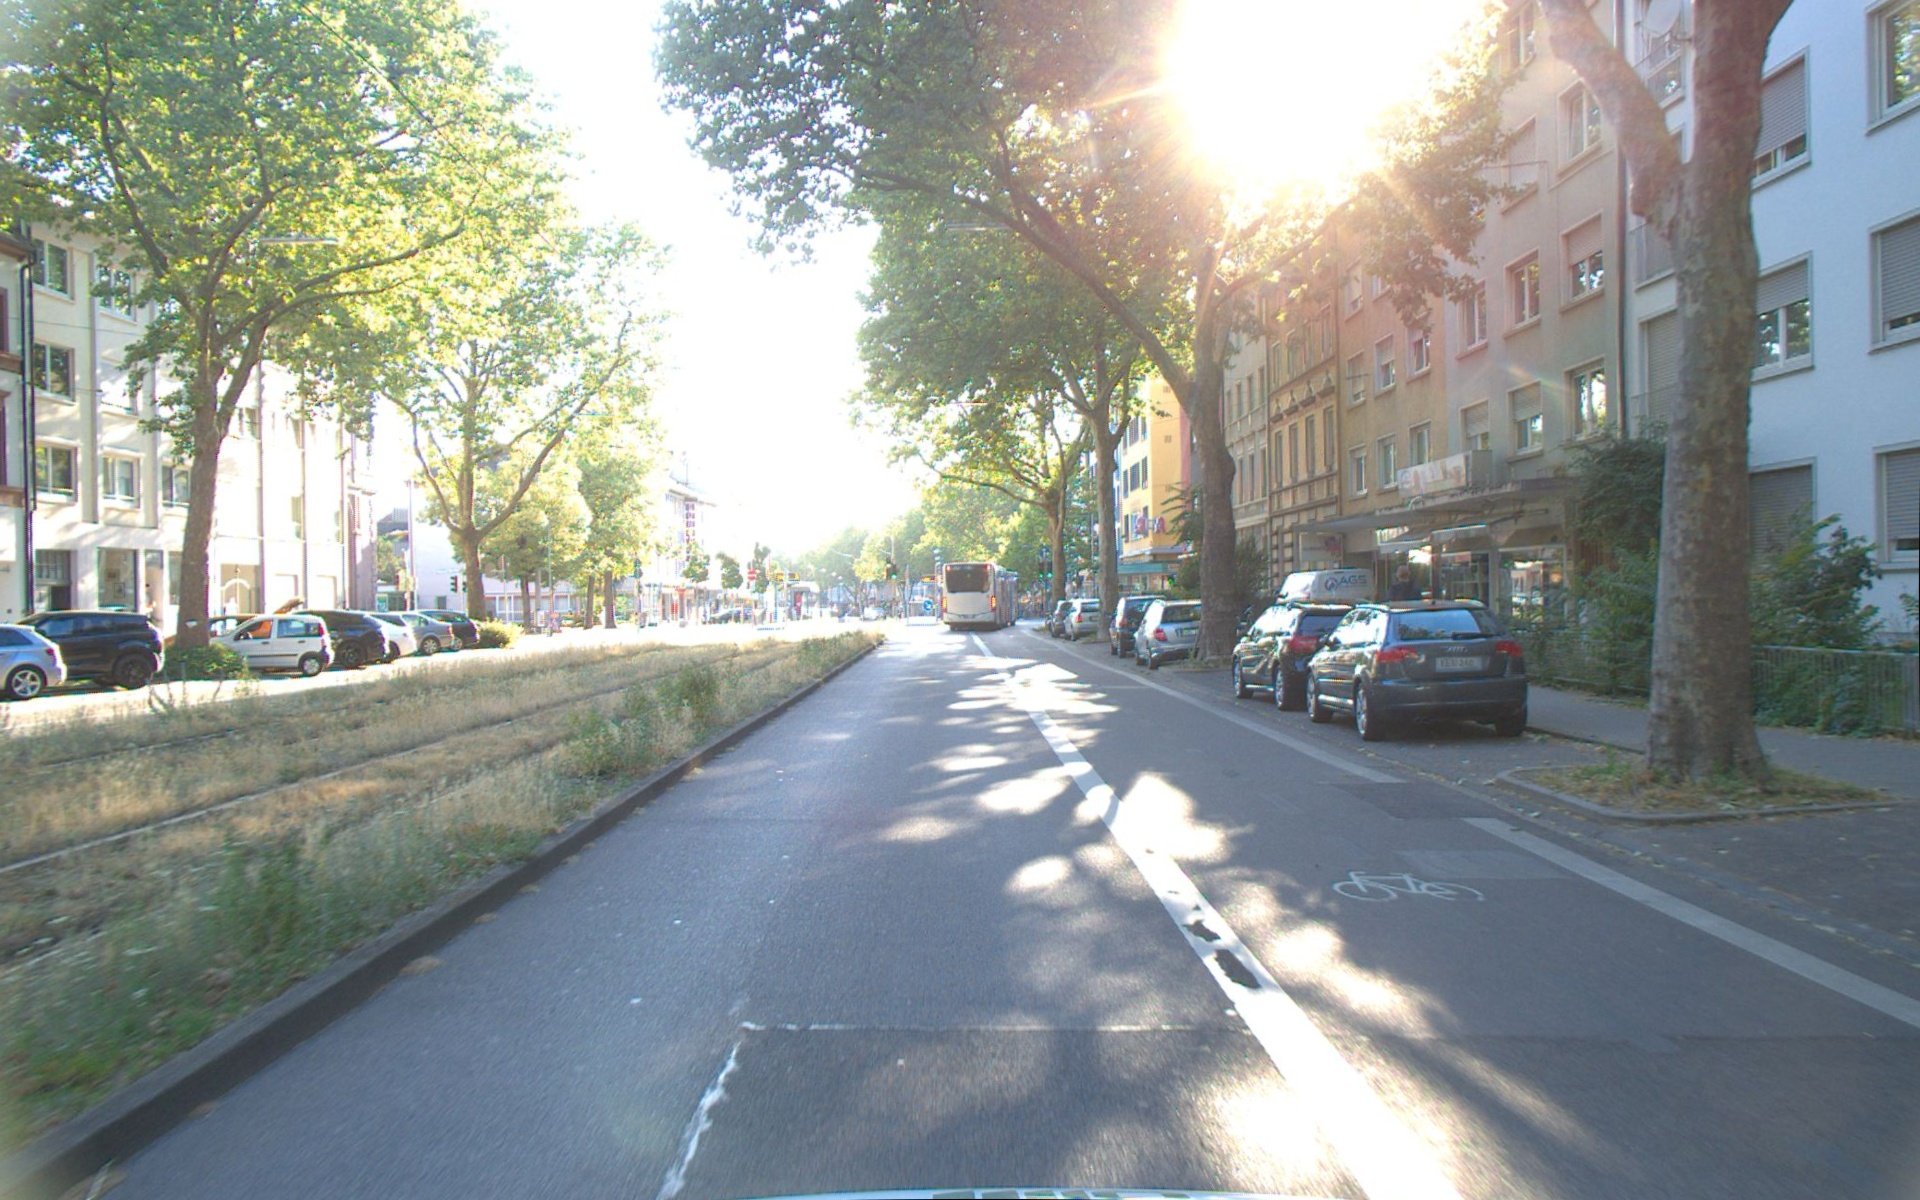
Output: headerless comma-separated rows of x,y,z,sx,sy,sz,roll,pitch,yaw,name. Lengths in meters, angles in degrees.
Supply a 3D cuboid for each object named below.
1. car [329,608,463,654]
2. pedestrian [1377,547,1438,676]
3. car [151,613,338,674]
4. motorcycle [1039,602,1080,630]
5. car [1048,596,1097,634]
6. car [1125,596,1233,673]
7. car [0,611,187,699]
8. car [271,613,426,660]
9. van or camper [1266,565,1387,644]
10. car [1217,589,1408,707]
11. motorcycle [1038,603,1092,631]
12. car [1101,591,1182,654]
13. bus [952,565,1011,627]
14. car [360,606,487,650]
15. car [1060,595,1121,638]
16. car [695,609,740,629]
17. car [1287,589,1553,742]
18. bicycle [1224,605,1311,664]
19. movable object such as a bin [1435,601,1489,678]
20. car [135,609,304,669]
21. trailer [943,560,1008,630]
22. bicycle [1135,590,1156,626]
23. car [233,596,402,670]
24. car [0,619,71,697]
-19.169,1.049,56.310,3.965,1.466,1.696,1,0,-42,car
7.286,0.187,26.956,0.669,2.049,1.012,-1,0,-1,pedestrian
-18.204,1.085,42.119,4.298,1.474,1.644,0,-1,-28,car
4.414,0.706,73.174,1.982,1.172,0.592,-1,0,-43,motorcycle
4.434,0.587,65.653,1.675,1.421,4.321,-1,0,1,car
4.802,0.708,36.841,1.660,1.569,4.776,-1,0,-1,car
-18.631,1.117,34.768,3.966,1.689,1.970,0,1,-42,car
-18.639,1.109,50.480,4.159,1.357,1.700,1,0,-37,car
9.734,0.108,44.425,1.902,1.956,5.390,-2,0,-1,van or camper
4.915,0.632,23.642,1.674,1.440,4.363,-3,0,-1,car
4.511,0.723,70.999,2.176,1.081,0.762,-3,1,-23,motorcycle
4.848,0.581,44.597,1.620,1.572,3.999,-2,0,-1,car
1.261,-0.179,89.366,2.753,3.156,9.097,1,0,3,bus
-19.243,1.015,59.426,3.968,1.505,1.789,1,0,-43,car
4.643,0.568,59.389,1.640,1.477,4.569,-1,0,-2,car
-23.612,1.811,161.136,3.939,1.847,1.983,-1,0,-27,car
5.040,0.661,18.753,1.674,1.440,4.363,-3,0,-1,car
6.237,0.686,33.686,0.758,1.151,2.069,1,0,-21,bicycle
7.851,0.615,25.876,0.603,1.179,0.665,-1,0,-4,movable object such as a bin
-19.497,1.038,43.727,3.929,1.505,1.766,1,0,-21,car
0.834,-0.196,80.410,2.753,3.165,8.797,1,0,3,trailer
7.574,0.320,67.526,0.594,1.451,2.396,1,0,0,bicycle
-18.355,0.939,47.253,4.298,1.817,1.977,-3,0,-27,car
-19.049,1.091,30.890,1.880,1.410,3.972,1,0,44,car
